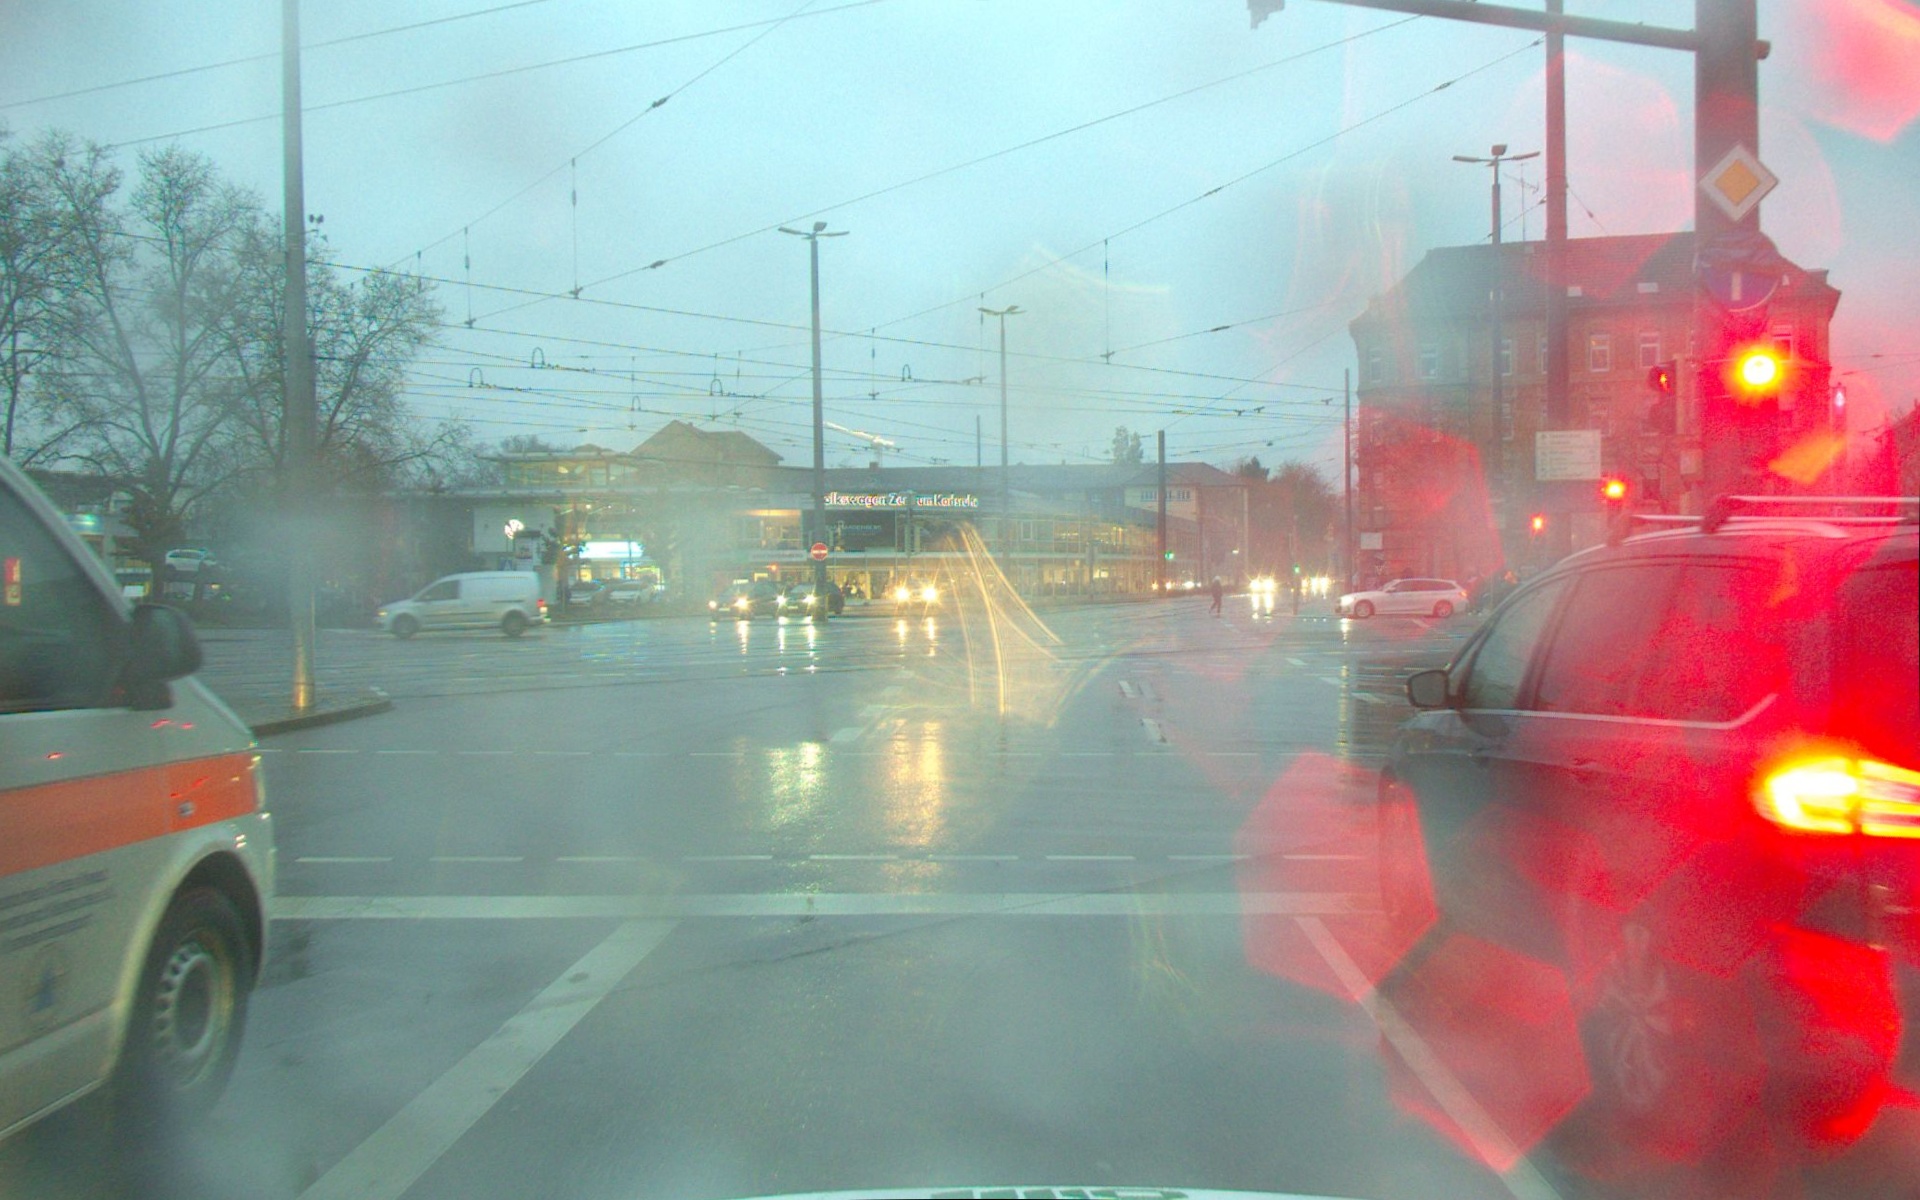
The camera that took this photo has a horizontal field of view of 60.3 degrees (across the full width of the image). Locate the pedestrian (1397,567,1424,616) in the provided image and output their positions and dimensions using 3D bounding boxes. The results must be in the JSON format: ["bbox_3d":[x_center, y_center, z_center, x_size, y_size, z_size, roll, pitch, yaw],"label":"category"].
[{"bbox_3d":[19.087,-0.365,70.106,0.721,2.049,0.781,-1,0,-29],"label":"pedestrian"}]

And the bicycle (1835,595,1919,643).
[{"bbox_3d":[20.200,0.397,35.948,1.965,0.998,0.696,-1,0,4],"label":"bicycle"}]

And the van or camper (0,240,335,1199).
[{"bbox_3d":[-3.067,0.327,2.650,2.156,2.146,4.988,1,0,1],"label":"van or camper"}]

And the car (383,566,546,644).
[{"bbox_3d":[-14.128,0.184,47.231,4.335,2.049,1.901,1,-3,-18],"label":"car"}]

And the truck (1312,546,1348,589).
[{"bbox_3d":[24.804,-2.145,110.653,1.951,2.738,5.118,-1,0,17],"label":"truck"}]

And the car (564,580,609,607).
[{"bbox_3d":[-23.555,-0.392,104.422,1.824,1.629,4.001,-1,0,1],"label":"car"}]

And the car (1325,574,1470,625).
[{"bbox_3d":[15.508,-0.021,58.800,4.698,1.686,1.741,-1,0,2],"label":"car"}]

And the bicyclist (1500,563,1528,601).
[{"bbox_3d":[26.672,-0.880,79.666,1.049,1.799,1.048,-1,0,31],"label":"bicyclist"}]

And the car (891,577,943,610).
[{"bbox_3d":[-2.011,-0.310,78.369,1.774,1.472,4.003,-1,0,9],"label":"car"}]

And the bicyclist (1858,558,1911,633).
[{"bbox_3d":[20.084,-0.101,35.949,0.760,1.603,0.696,-1,0,4],"label":"bicyclist"}]

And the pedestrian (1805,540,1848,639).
[{"bbox_3d":[17.676,-0.214,33.735,0.664,1.984,0.674,-1,0,36],"label":"pedestrian"}]

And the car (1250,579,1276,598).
[{"bbox_3d":[26.995,-1.043,147.364,1.823,1.629,3.788,-1,0,17],"label":"car"}]

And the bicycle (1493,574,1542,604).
[{"bbox_3d":[26.815,-0.518,79.557,2.160,1.400,0.696,-1,0,30],"label":"bicycle"}]

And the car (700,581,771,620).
[{"bbox_3d":[-9.036,-0.002,66.843,1.774,1.472,4.003,-1,0,9],"label":"car"}]

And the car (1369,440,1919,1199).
[{"bbox_3d":[2.796,0.536,5.780,1.741,1.831,4.426,0,1,2],"label":"car"}]

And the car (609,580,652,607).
[{"bbox_3d":[-20.728,-0.403,104.219,1.824,1.629,4.001,-1,0,1],"label":"car"}]

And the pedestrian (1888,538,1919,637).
[{"bbox_3d":[19.231,-0.254,33.557,0.663,1.984,0.661,-1,0,27],"label":"pedestrian"}]

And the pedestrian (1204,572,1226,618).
[{"bbox_3d":[10.420,-0.205,67.577,0.586,1.872,0.611,-1,0,-35],"label":"pedestrian"}]

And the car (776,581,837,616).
[{"bbox_3d":[-6.789,-0.089,73.535,1.774,1.472,4.003,-1,0,9],"label":"car"}]
